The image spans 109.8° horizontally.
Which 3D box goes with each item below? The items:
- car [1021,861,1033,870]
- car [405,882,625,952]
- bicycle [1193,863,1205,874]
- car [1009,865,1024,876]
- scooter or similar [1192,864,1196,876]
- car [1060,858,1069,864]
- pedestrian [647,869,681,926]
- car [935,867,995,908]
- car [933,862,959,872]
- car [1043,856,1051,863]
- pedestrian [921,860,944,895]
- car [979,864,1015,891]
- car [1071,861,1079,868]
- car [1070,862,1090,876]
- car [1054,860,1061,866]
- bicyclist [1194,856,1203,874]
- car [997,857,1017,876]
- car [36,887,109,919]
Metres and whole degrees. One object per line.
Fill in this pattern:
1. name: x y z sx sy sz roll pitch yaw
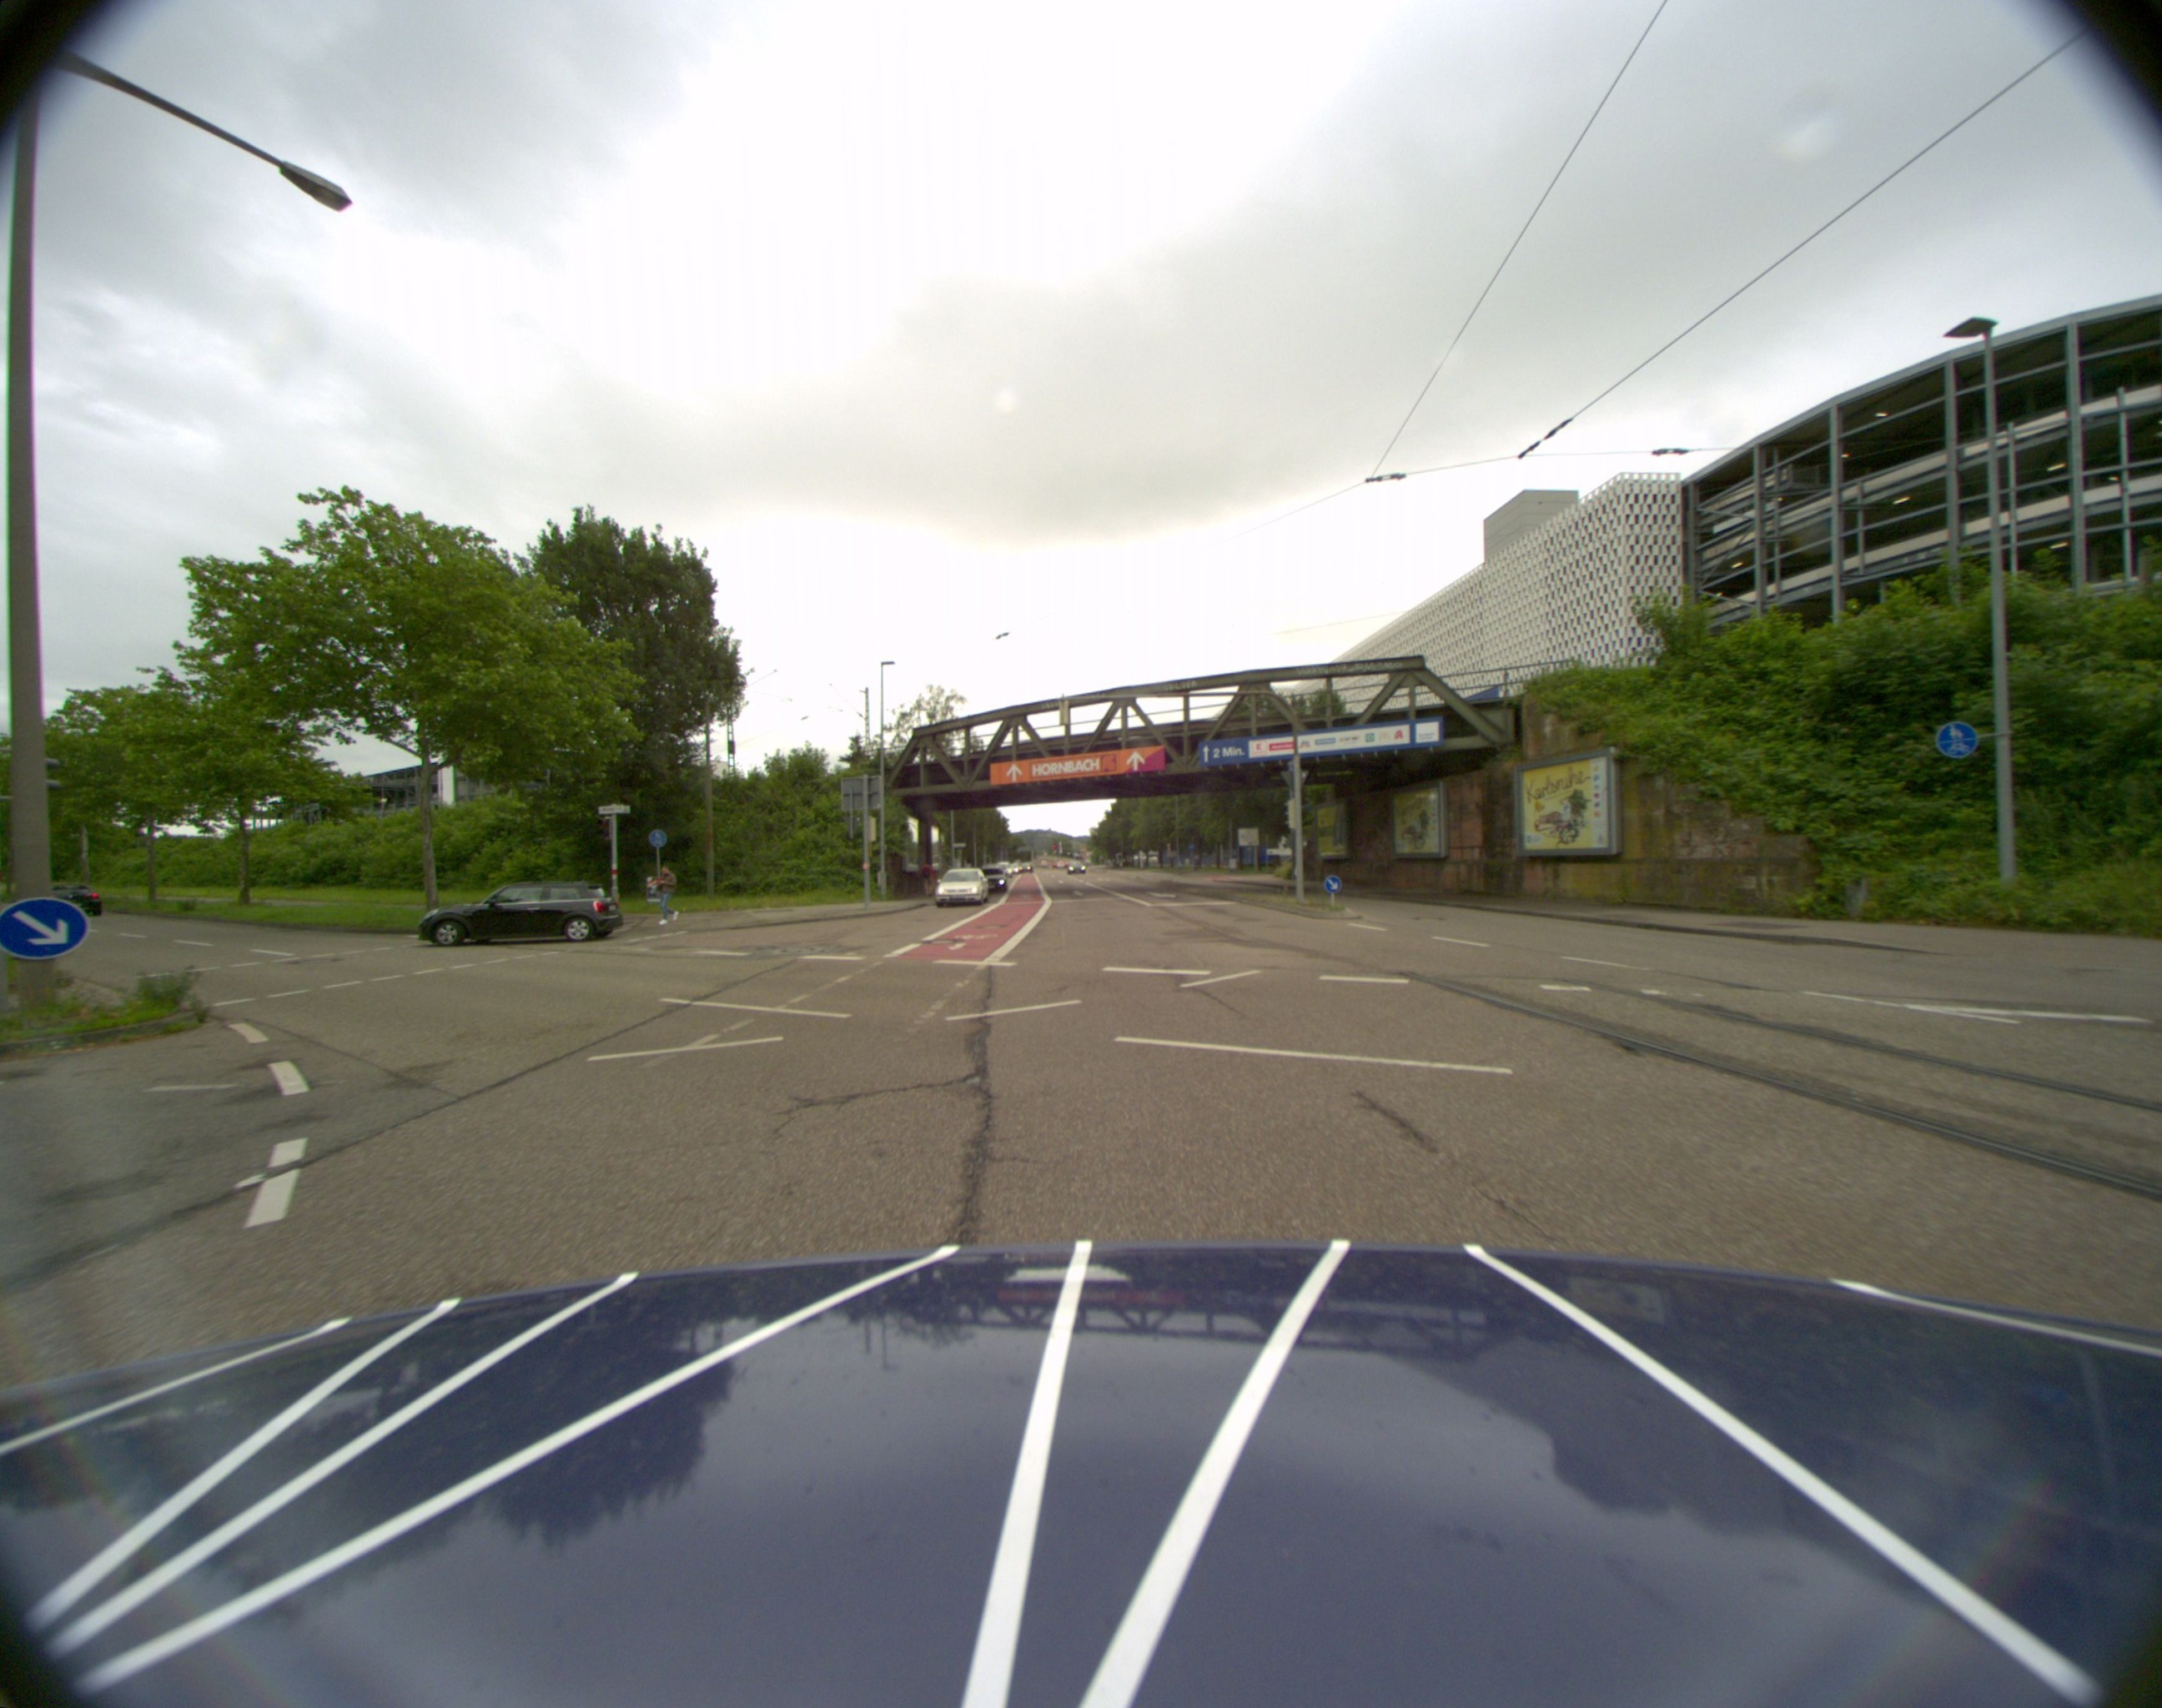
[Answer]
1. car: -8.476 1.790 119.870 1.837 1.415 3.999 -3 -1 -4
2. car: -12.997 1.409 17.733 3.777 1.422 1.682 -1 -2 -20
3. bicycle: 12.852 1.563 82.748 0.715 1.180 2.370 -3 0 -4
4. car: -8.703 2.175 102.816 1.837 1.415 3.999 -3 -1 -4
5. scooter or similar: 13.039 1.809 87.743 0.448 1.314 1.506 -1 0 6
6. car: -4.266 1.793 194.728 1.824 1.577 4.511 1 -1 -8
7. pedestrian: -12.237 1.258 22.306 0.780 1.630 0.742 -2 0 -34
8. car: -4.534 1.285 30.169 1.726 1.415 3.941 -3 -1 0
9. car: -23.528 2.255 132.456 4.200 1.423 1.739 -4 0 -4
10. car: -9.977 1.604 223.904 1.652 1.787 3.978 0 -1 -11
11. pedestrian: -7.523 1.189 38.464 0.876 1.749 0.785 -2 0 -32
12. car: -4.816 1.341 43.941 1.837 1.415 3.999 -3 -1 -4
13. car: -1.531 2.749 205.594 1.772 1.913 4.907 0 -1 -5
14. car: -0.142 1.646 82.637 1.837 1.415 3.999 -3 -1 -4
15. car: -6.914 2.626 222.066 1.652 1.787 3.978 1 -1 -10
16. bicyclist: 12.822 1.217 82.758 0.704 1.863 1.019 -3 1 -4
17. car: -7.711 1.312 78.922 1.996 1.838 4.102 -1 -1 -7
18. car: -44.323 2.156 33.390 3.411 1.273 1.656 -3 -1 33
